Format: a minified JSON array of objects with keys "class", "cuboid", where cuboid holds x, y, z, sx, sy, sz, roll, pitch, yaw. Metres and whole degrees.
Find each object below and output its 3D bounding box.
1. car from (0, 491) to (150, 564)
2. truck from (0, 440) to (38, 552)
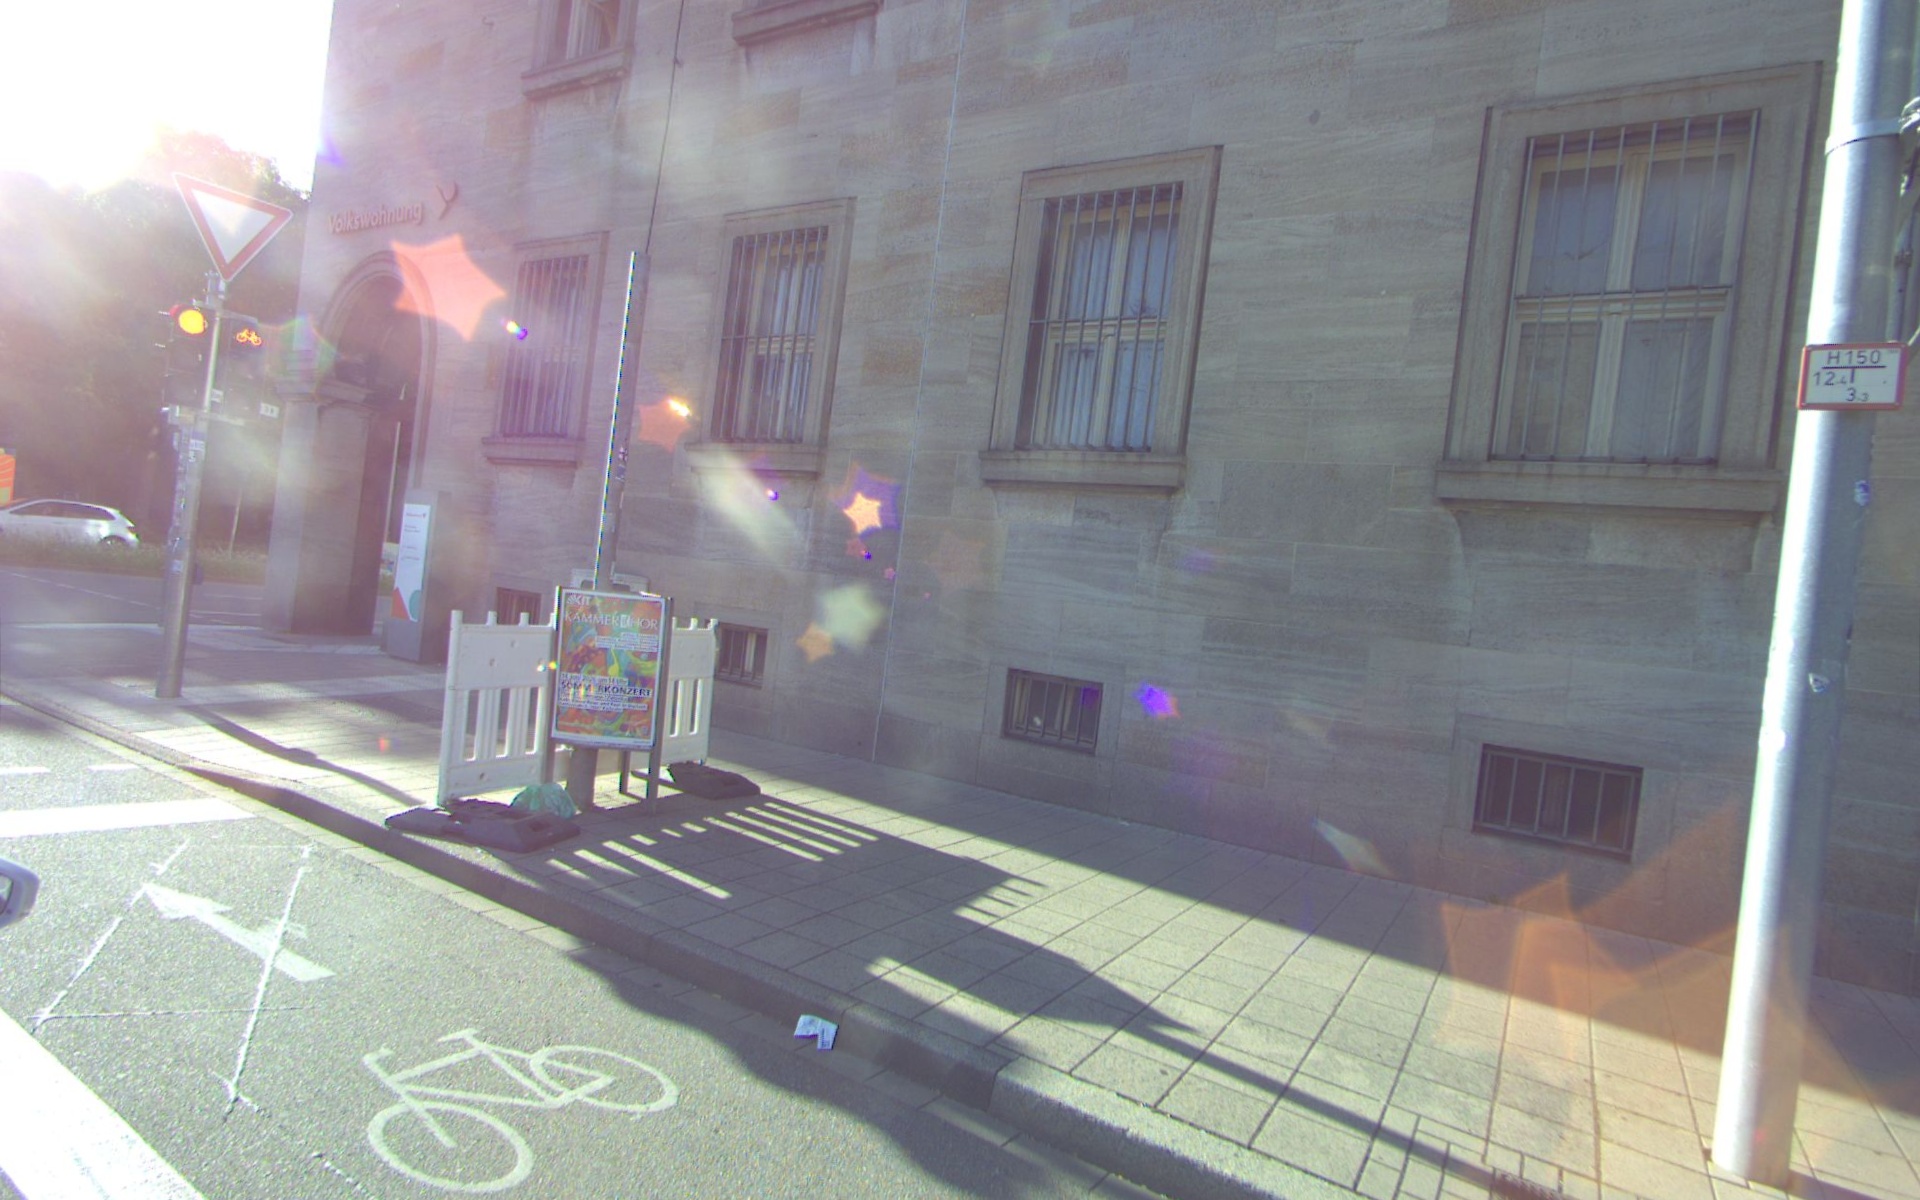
[{"class":"car","cuboid":[-23.769,-1.940,25.989,1.604,1.451,4.050,7,-1,29]},{"class":"truck","cuboid":[-29.303,-3.281,26.688,2.680,3.052,6.479,7,-1,31]}]
